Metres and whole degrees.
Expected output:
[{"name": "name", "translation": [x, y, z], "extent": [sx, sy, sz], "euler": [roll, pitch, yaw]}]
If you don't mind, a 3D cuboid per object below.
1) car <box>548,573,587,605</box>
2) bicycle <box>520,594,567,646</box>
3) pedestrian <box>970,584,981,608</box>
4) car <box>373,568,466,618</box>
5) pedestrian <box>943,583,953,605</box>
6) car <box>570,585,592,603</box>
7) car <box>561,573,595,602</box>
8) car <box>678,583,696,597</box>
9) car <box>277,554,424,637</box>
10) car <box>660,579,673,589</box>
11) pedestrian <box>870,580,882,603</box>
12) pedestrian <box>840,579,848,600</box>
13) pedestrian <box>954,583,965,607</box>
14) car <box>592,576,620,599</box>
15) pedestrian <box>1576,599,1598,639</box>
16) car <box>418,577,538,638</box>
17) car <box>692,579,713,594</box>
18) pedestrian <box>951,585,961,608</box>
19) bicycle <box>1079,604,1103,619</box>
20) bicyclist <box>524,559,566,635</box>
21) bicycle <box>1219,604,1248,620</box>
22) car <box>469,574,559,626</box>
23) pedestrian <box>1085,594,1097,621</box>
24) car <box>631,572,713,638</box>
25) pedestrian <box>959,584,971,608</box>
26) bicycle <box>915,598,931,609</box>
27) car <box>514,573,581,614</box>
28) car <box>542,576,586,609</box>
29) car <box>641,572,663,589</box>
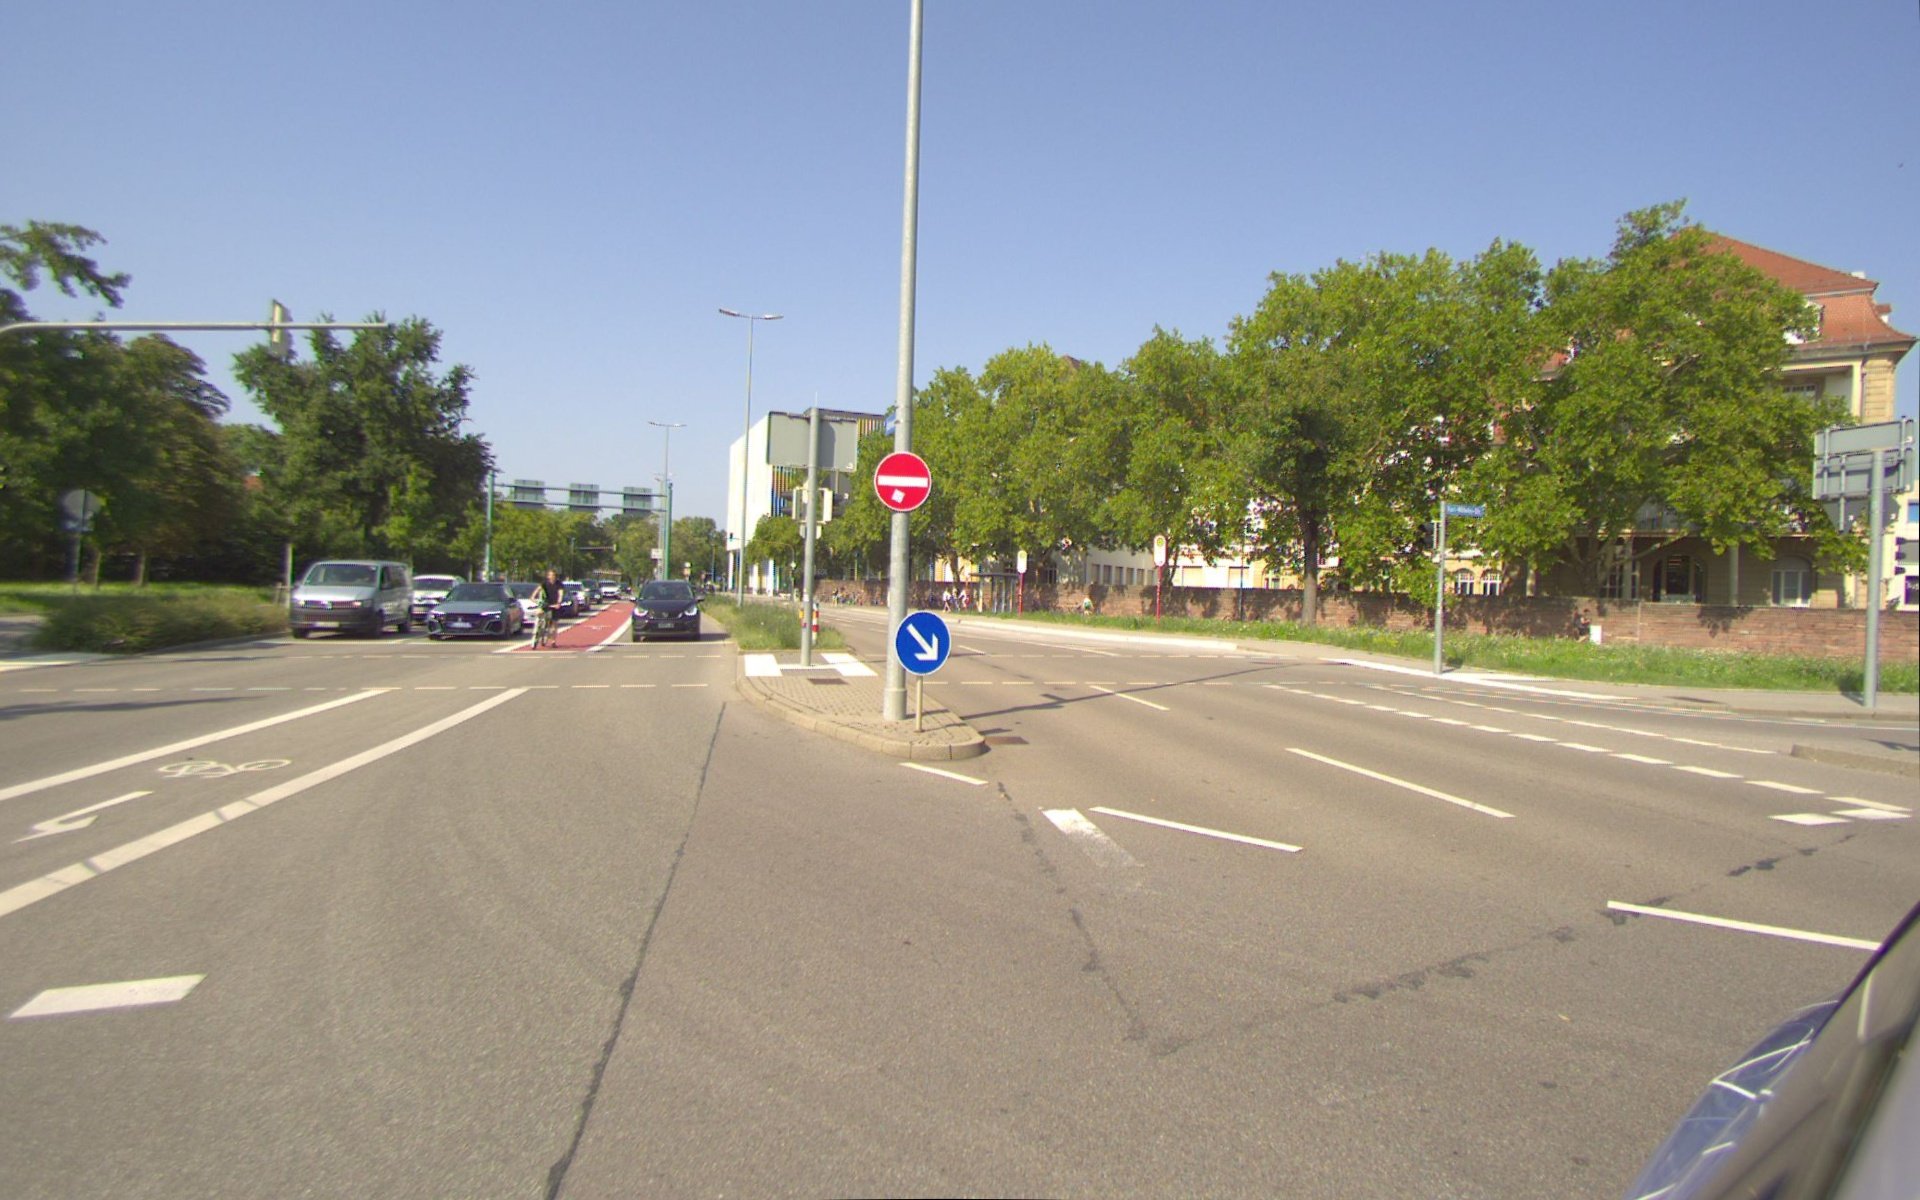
[{"name": "car", "translation": [-21.839, -0.630, 56.449], "extent": [1.892, 1.681, 4.304], "euler": [2, 1, -20]}, {"name": "bicycle", "translation": [-9.303, 0.430, 22.664], "extent": [0.754, 1.066, 1.779], "euler": [2, 1, -16]}, {"name": "pedestrian", "translation": [1.070, -0.303, 71.506], "extent": [0.474, 1.673, 0.594], "euler": [3, -3, -37]}, {"name": "car", "translation": [-17.982, -0.243, 33.842], "extent": [1.772, 1.524, 3.976], "euler": [2, 1, -14]}, {"name": "pedestrian", "translation": [-0.883, -0.410, 73.257], "extent": [0.525, 1.591, 0.502], "euler": [3, -3, -39]}, {"name": "car", "translation": [-37.380, -0.619, 99.927], "extent": [1.892, 1.681, 4.304], "euler": [2, 1, -20]}, {"name": "car", "translation": [-24.274, -0.822, 64.447], "extent": [1.892, 1.681, 4.304], "euler": [2, 1, -20]}, {"name": "car", "translation": [-33.226, -1.279, 123.184], "extent": [1.676, 1.594, 4.008], "euler": [2, 1, -22]}, {"name": "car", "translation": [-15.564, -0.148, 26.174], "extent": [1.808, 1.898, 4.984], "euler": [2, 1, -14]}, {"name": "car", "translation": [-45.646, -2.466, 157.327], "extent": [1.892, 1.547, 4.304], "euler": [2, 1, -17]}, {"name": "pedestrian", "translation": [-7.292, -0.734, 87.963], "extent": [0.726, 1.979, 0.933], "euler": [2, -2, -28]}, {"name": "pedestrian", "translation": [-9.980, -0.891, 87.188], "extent": [0.476, 1.762, 0.506], "euler": [2, -2, -21]}, {"name": "pedestrian", "translation": [-0.023, -0.382, 71.804], "extent": [0.510, 1.673, 0.594], "euler": [3, -3, -37]}, {"name": "car", "translation": [-27.048, -0.983, 77.263], "extent": [1.892, 1.681, 4.304], "euler": [2, 1, -20]}, {"name": "pedestrian", "translation": [27.563, 0.844, 44.493], "extent": [0.715, 1.704, 0.586], "euler": [2, 0, 39]}, {"name": "car", "translation": [-12.622, 0.128, 26.840], "extent": [1.871, 1.418, 4.931], "euler": [2, 1, -14]}, {"name": "car", "translation": [-28.435, -1.502, 111.774], "extent": [1.676, 1.594, 4.009], "euler": [2, 1, -21]}, {"name": "pedestrian", "translation": [-0.304, -0.254, 73.851], "extent": [0.474, 1.673, 0.594], "euler": [3, -3, -37]}, {"name": "bicycle", "translation": [8.295, 0.735, 64.097], "extent": [0.426, 0.846, 1.548], "euler": [2, 0, -41]}, {"name": "bicyclist", "translation": [-9.276, -0.068, 22.652], "extent": [0.733, 1.656, 0.877], "euler": [2, 0, -16]}, {"name": "bicycle", "translation": [15.292, 0.679, 56.515], "extent": [0.427, 0.846, 1.546], "euler": [2, 0, -44]}, {"name": "car", "translation": [-14.706, -0.036, 33.615], "extent": [1.958, 1.524, 4.444], "euler": [2, 1, -14]}, {"name": "pedestrian", "translation": [8.165, 0.473, 63.122], "extent": [0.475, 1.673, 0.593], "euler": [3, -3, -41]}, {"name": "car", "translation": [-7.612, 0.074, 27.108], "extent": [1.815, 1.598, 4.724], "euler": [0, 1, -12]}, {"name": "pedestrian", "translation": [0.357, -0.270, 70.880], "extent": [0.510, 1.673, 0.594], "euler": [3, -3, -37]}, {"name": "bicycle", "translation": [-2.922, 0.284, 79.788], "extent": [0.425, 0.846, 1.551], "euler": [2, 0, -33]}, {"name": "car", "translation": [-17.081, -0.293, 42.105], "extent": [1.958, 1.524, 4.304], "euler": [2, 1, -14]}, {"name": "car", "translation": [-19.816, -0.401, 50.770], "extent": [1.892, 1.524, 4.304], "euler": [2, 1, -20]}, {"name": "car", "translation": [-38.772, -2.436, 127.375], "extent": [1.880, 2.040, 4.005], "euler": [2, -2, -26]}]
